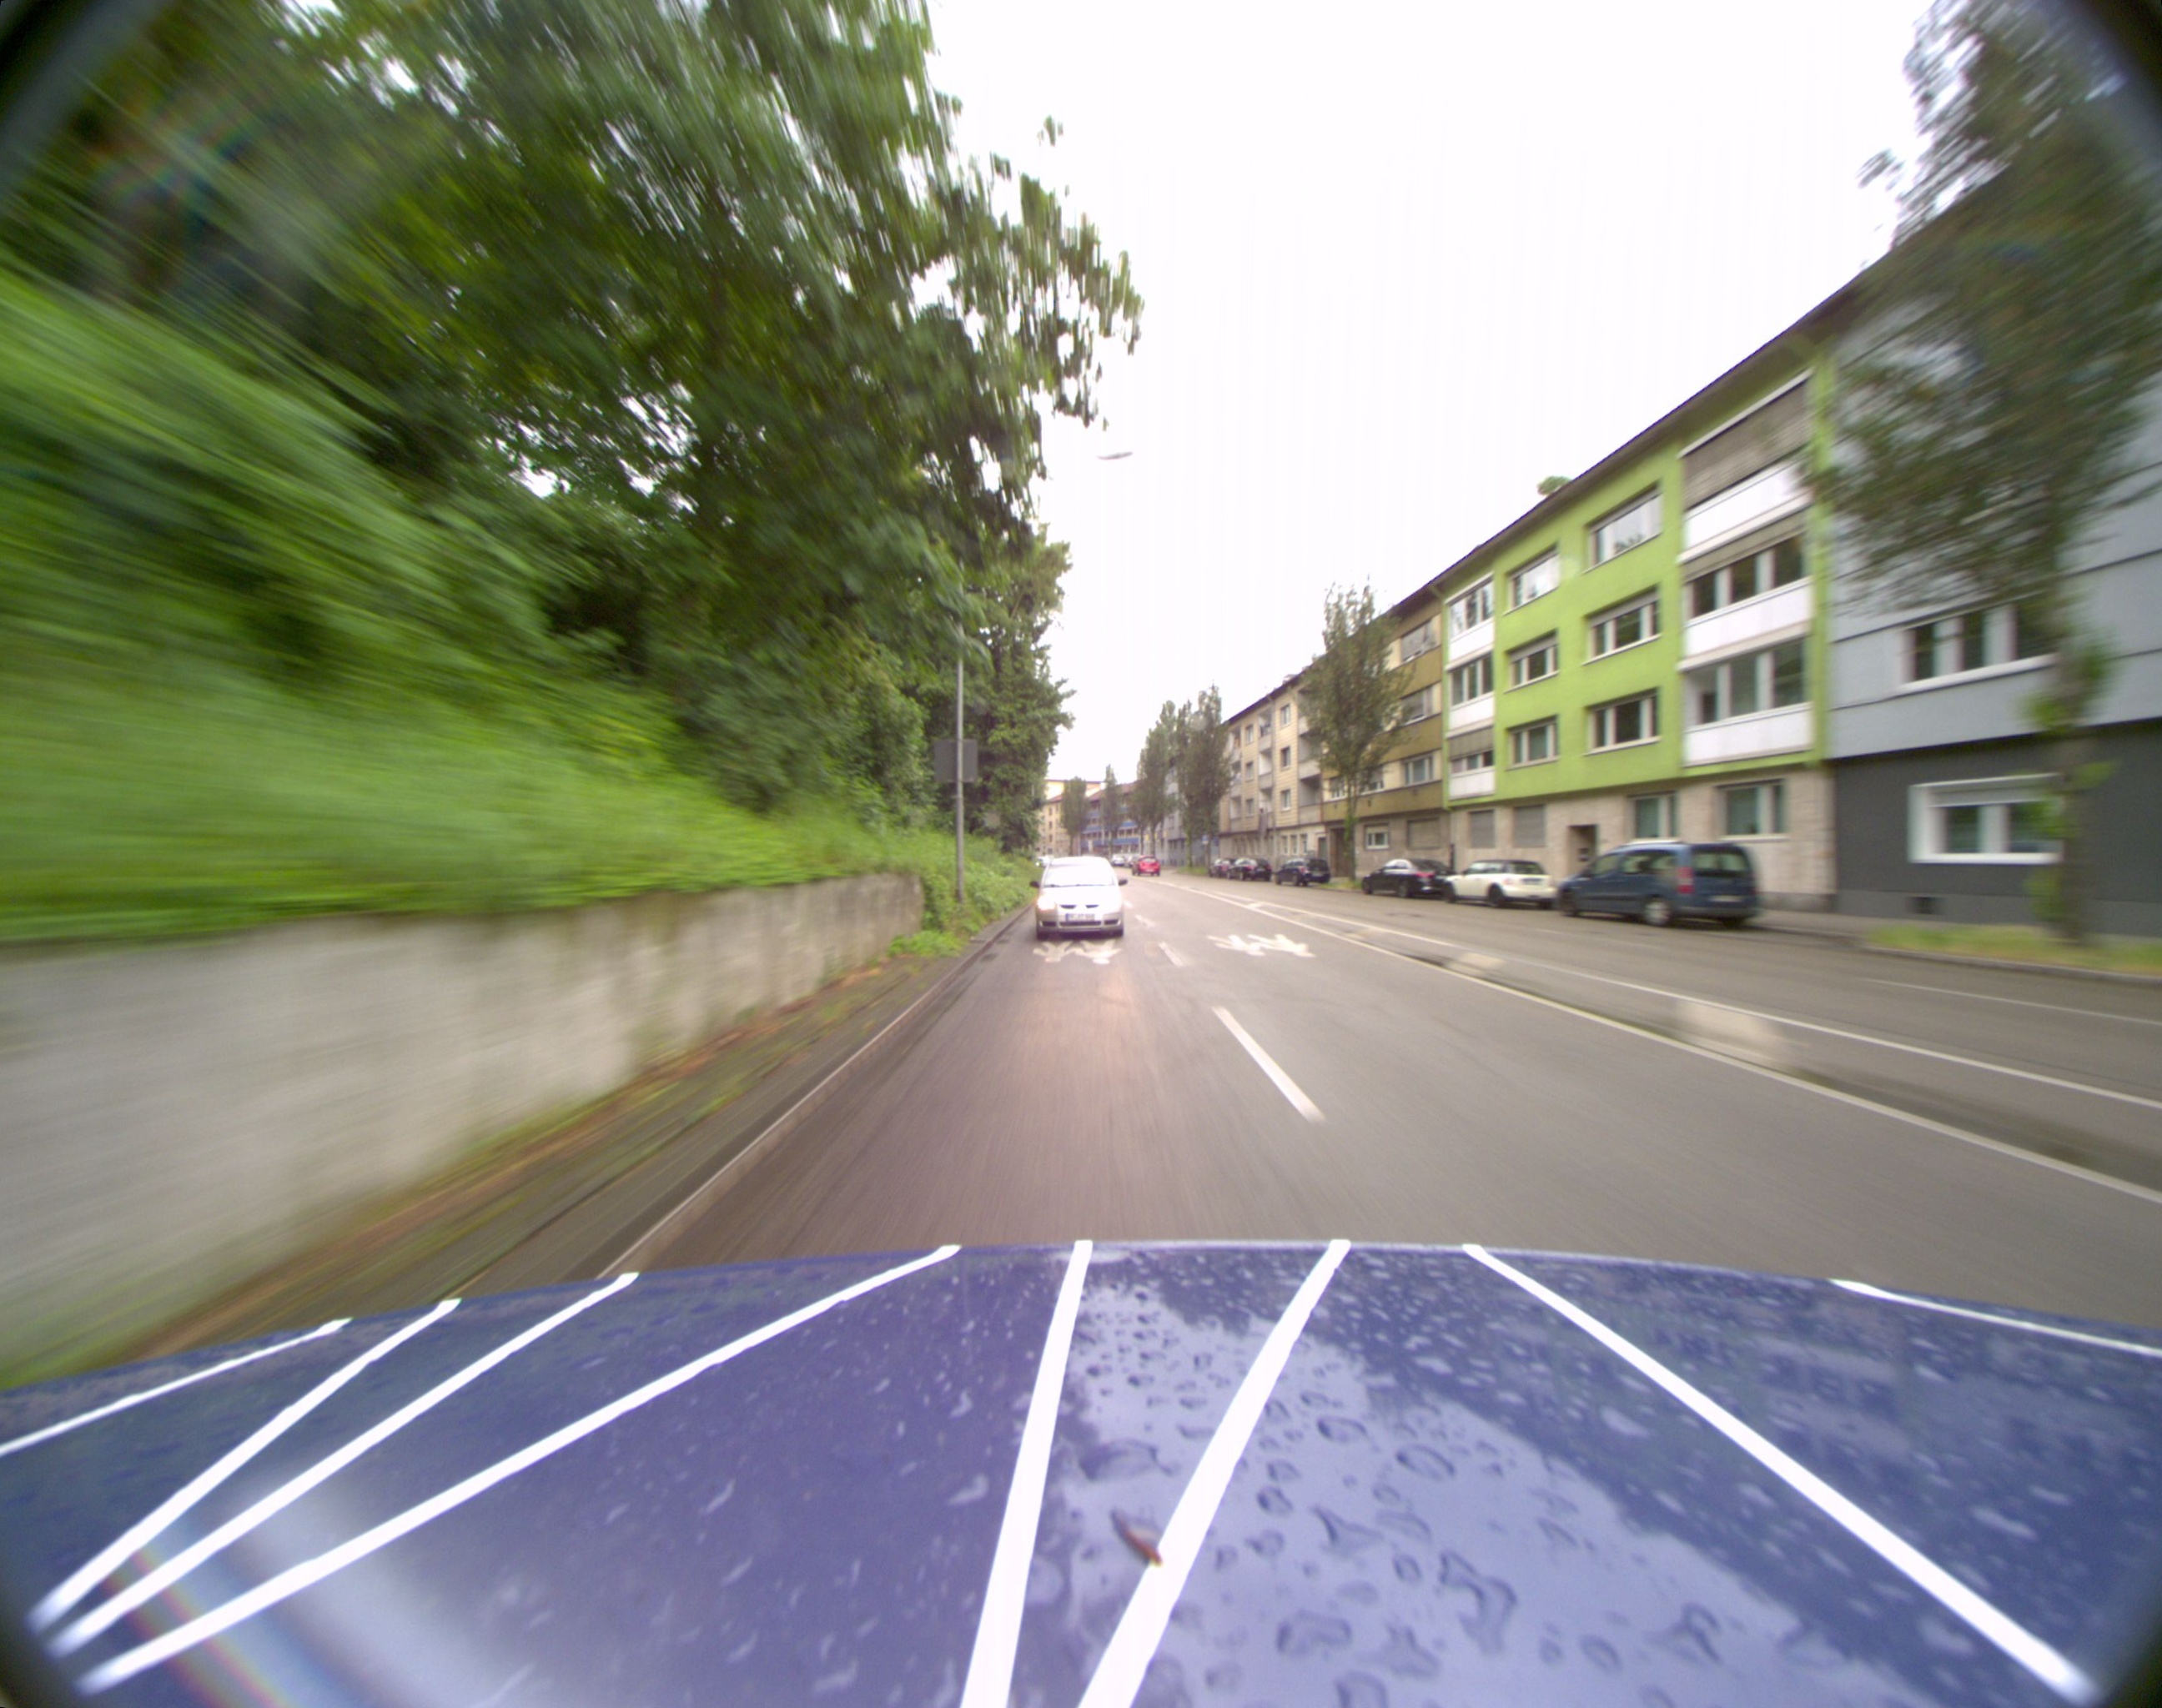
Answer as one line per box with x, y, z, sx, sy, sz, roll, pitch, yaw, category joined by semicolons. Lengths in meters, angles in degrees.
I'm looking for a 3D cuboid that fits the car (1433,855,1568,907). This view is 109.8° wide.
12.522;0.743;22.998;1.685;1.368;3.998;2;0;-3;car

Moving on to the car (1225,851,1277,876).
10.804;0.568;48.598;1.823;1.480;4.787;1;0;-5;car

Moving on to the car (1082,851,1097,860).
1.373;0.211;127.786;1.786;1.395;4.084;1;0;-11;car

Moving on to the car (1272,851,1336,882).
11.565;0.605;39.752;1.723;1.480;4.513;1;0;-4;car

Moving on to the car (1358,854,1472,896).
12.158;0.709;28.042;1.823;1.364;4.678;1;0;-5;car

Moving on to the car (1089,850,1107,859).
2.735;0.039;122.694;1.827;1.431;4.887;1;0;-10;car

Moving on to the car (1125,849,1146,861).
6.775;0.070;94.693;1.730;1.444;4.201;0;1;-8;car

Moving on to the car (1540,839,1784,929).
12.815;0.574;17.237;1.896;1.756;4.599;1;1;-2;car

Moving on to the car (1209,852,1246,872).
10.454;0.560;54.500;1.630;1.379;3.986;0;0;-4;car

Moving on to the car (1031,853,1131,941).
-0.088;0.771;15.781;1.753;1.510;3.998;-2;1;-3;car

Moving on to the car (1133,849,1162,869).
5.002;0.339;57.407;1.711;1.470;3.679;0;1;-3;car

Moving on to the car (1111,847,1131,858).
5.557;-0.216;105.840;1.769;1.594;4.529;0;0;-9;car
